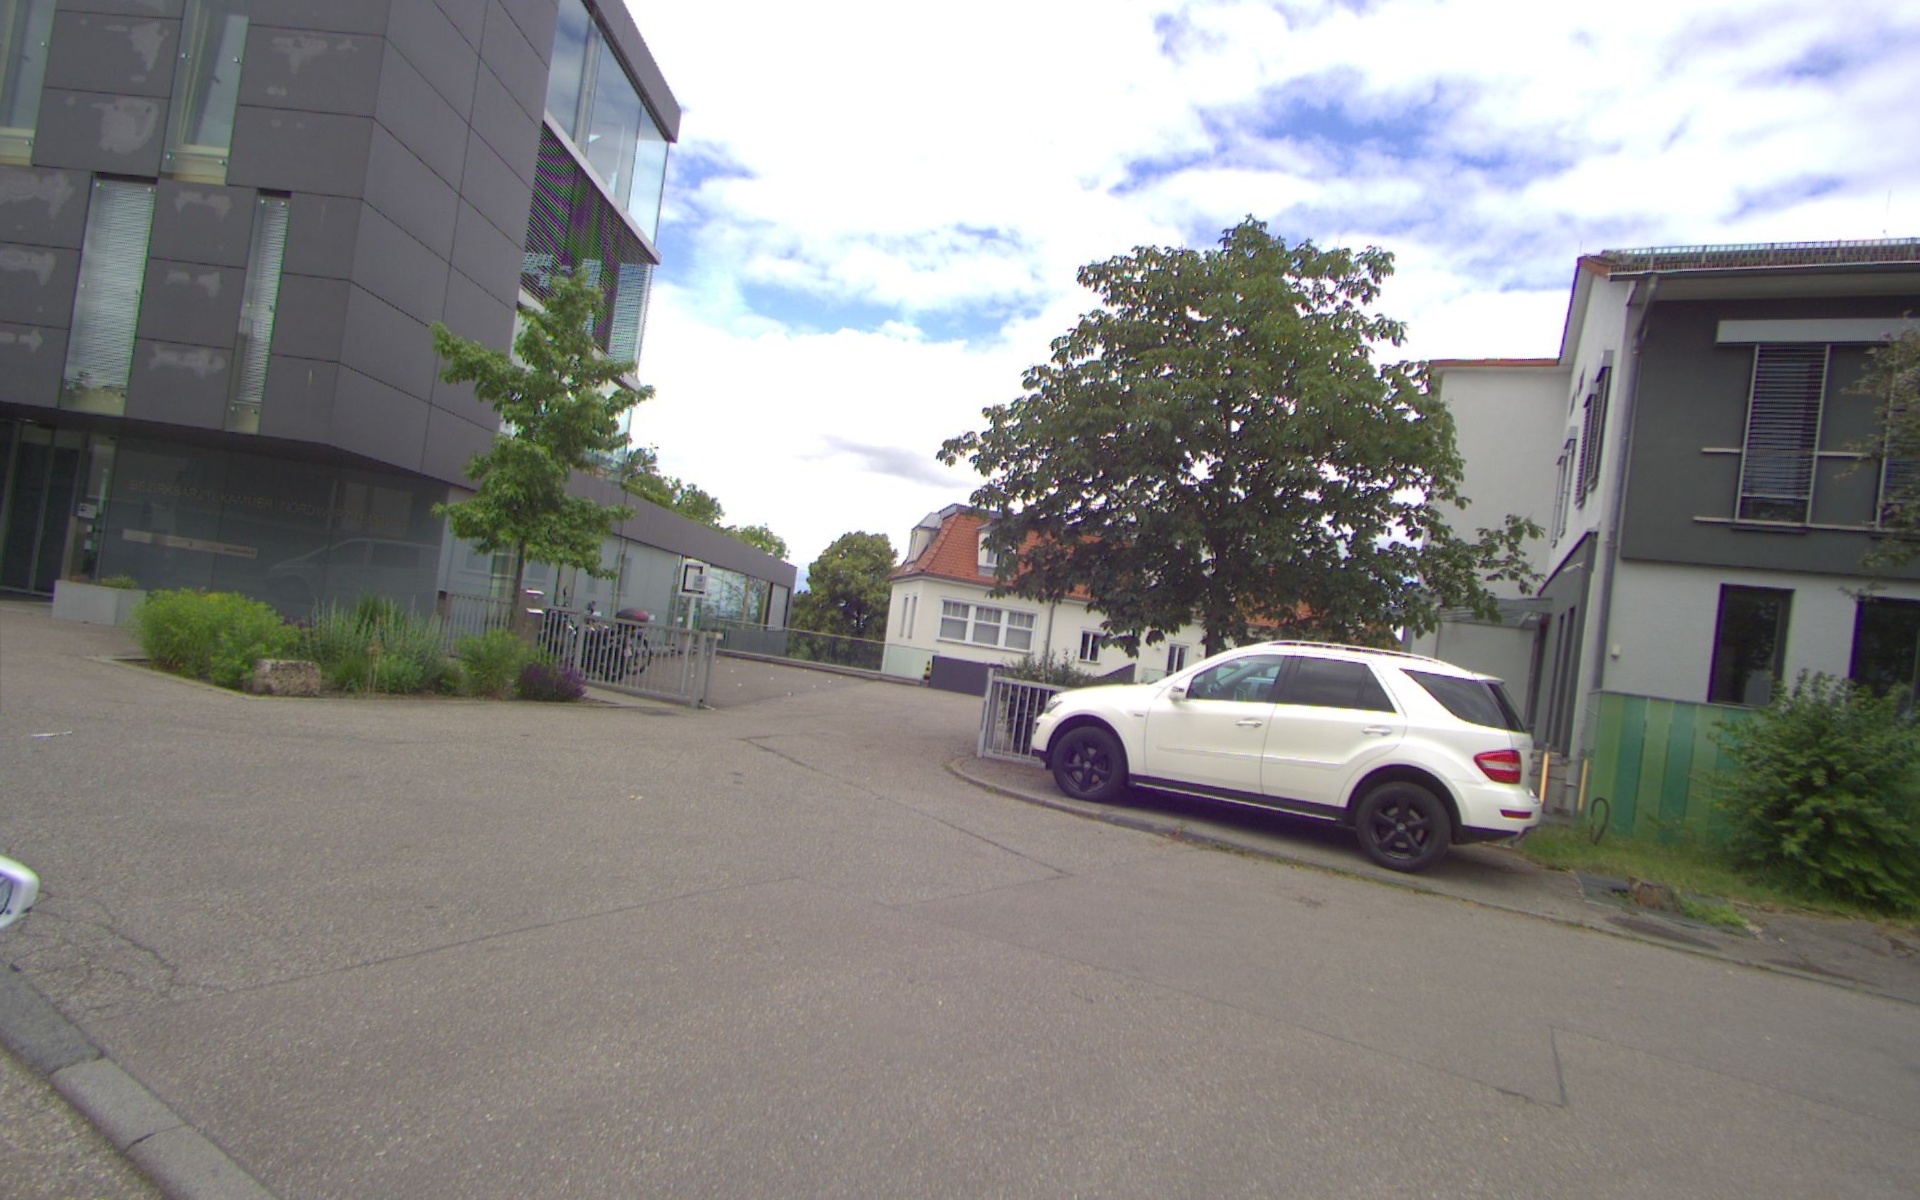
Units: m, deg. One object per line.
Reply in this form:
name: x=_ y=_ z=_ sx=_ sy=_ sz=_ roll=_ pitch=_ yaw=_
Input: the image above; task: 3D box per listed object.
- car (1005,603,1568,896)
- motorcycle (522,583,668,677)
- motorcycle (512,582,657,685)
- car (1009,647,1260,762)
car: x=2.989 y=1.226 z=9.614 sx=4.643 sy=1.778 sz=1.856 roll=7 pitch=-2 yaw=31
motorcycle: x=-6.775 y=0.557 z=18.664 sx=2.416 sy=1.409 sz=0.671 roll=7 pitch=-1 yaw=13
motorcycle: x=-6.243 y=0.562 z=16.750 sx=2.084 sy=1.409 sz=0.671 roll=7 pitch=-1 yaw=13
car: x=3.184 y=1.854 z=18.412 sx=4.142 sy=1.501 sz=1.621 roll=5 pitch=-2 yaw=25
